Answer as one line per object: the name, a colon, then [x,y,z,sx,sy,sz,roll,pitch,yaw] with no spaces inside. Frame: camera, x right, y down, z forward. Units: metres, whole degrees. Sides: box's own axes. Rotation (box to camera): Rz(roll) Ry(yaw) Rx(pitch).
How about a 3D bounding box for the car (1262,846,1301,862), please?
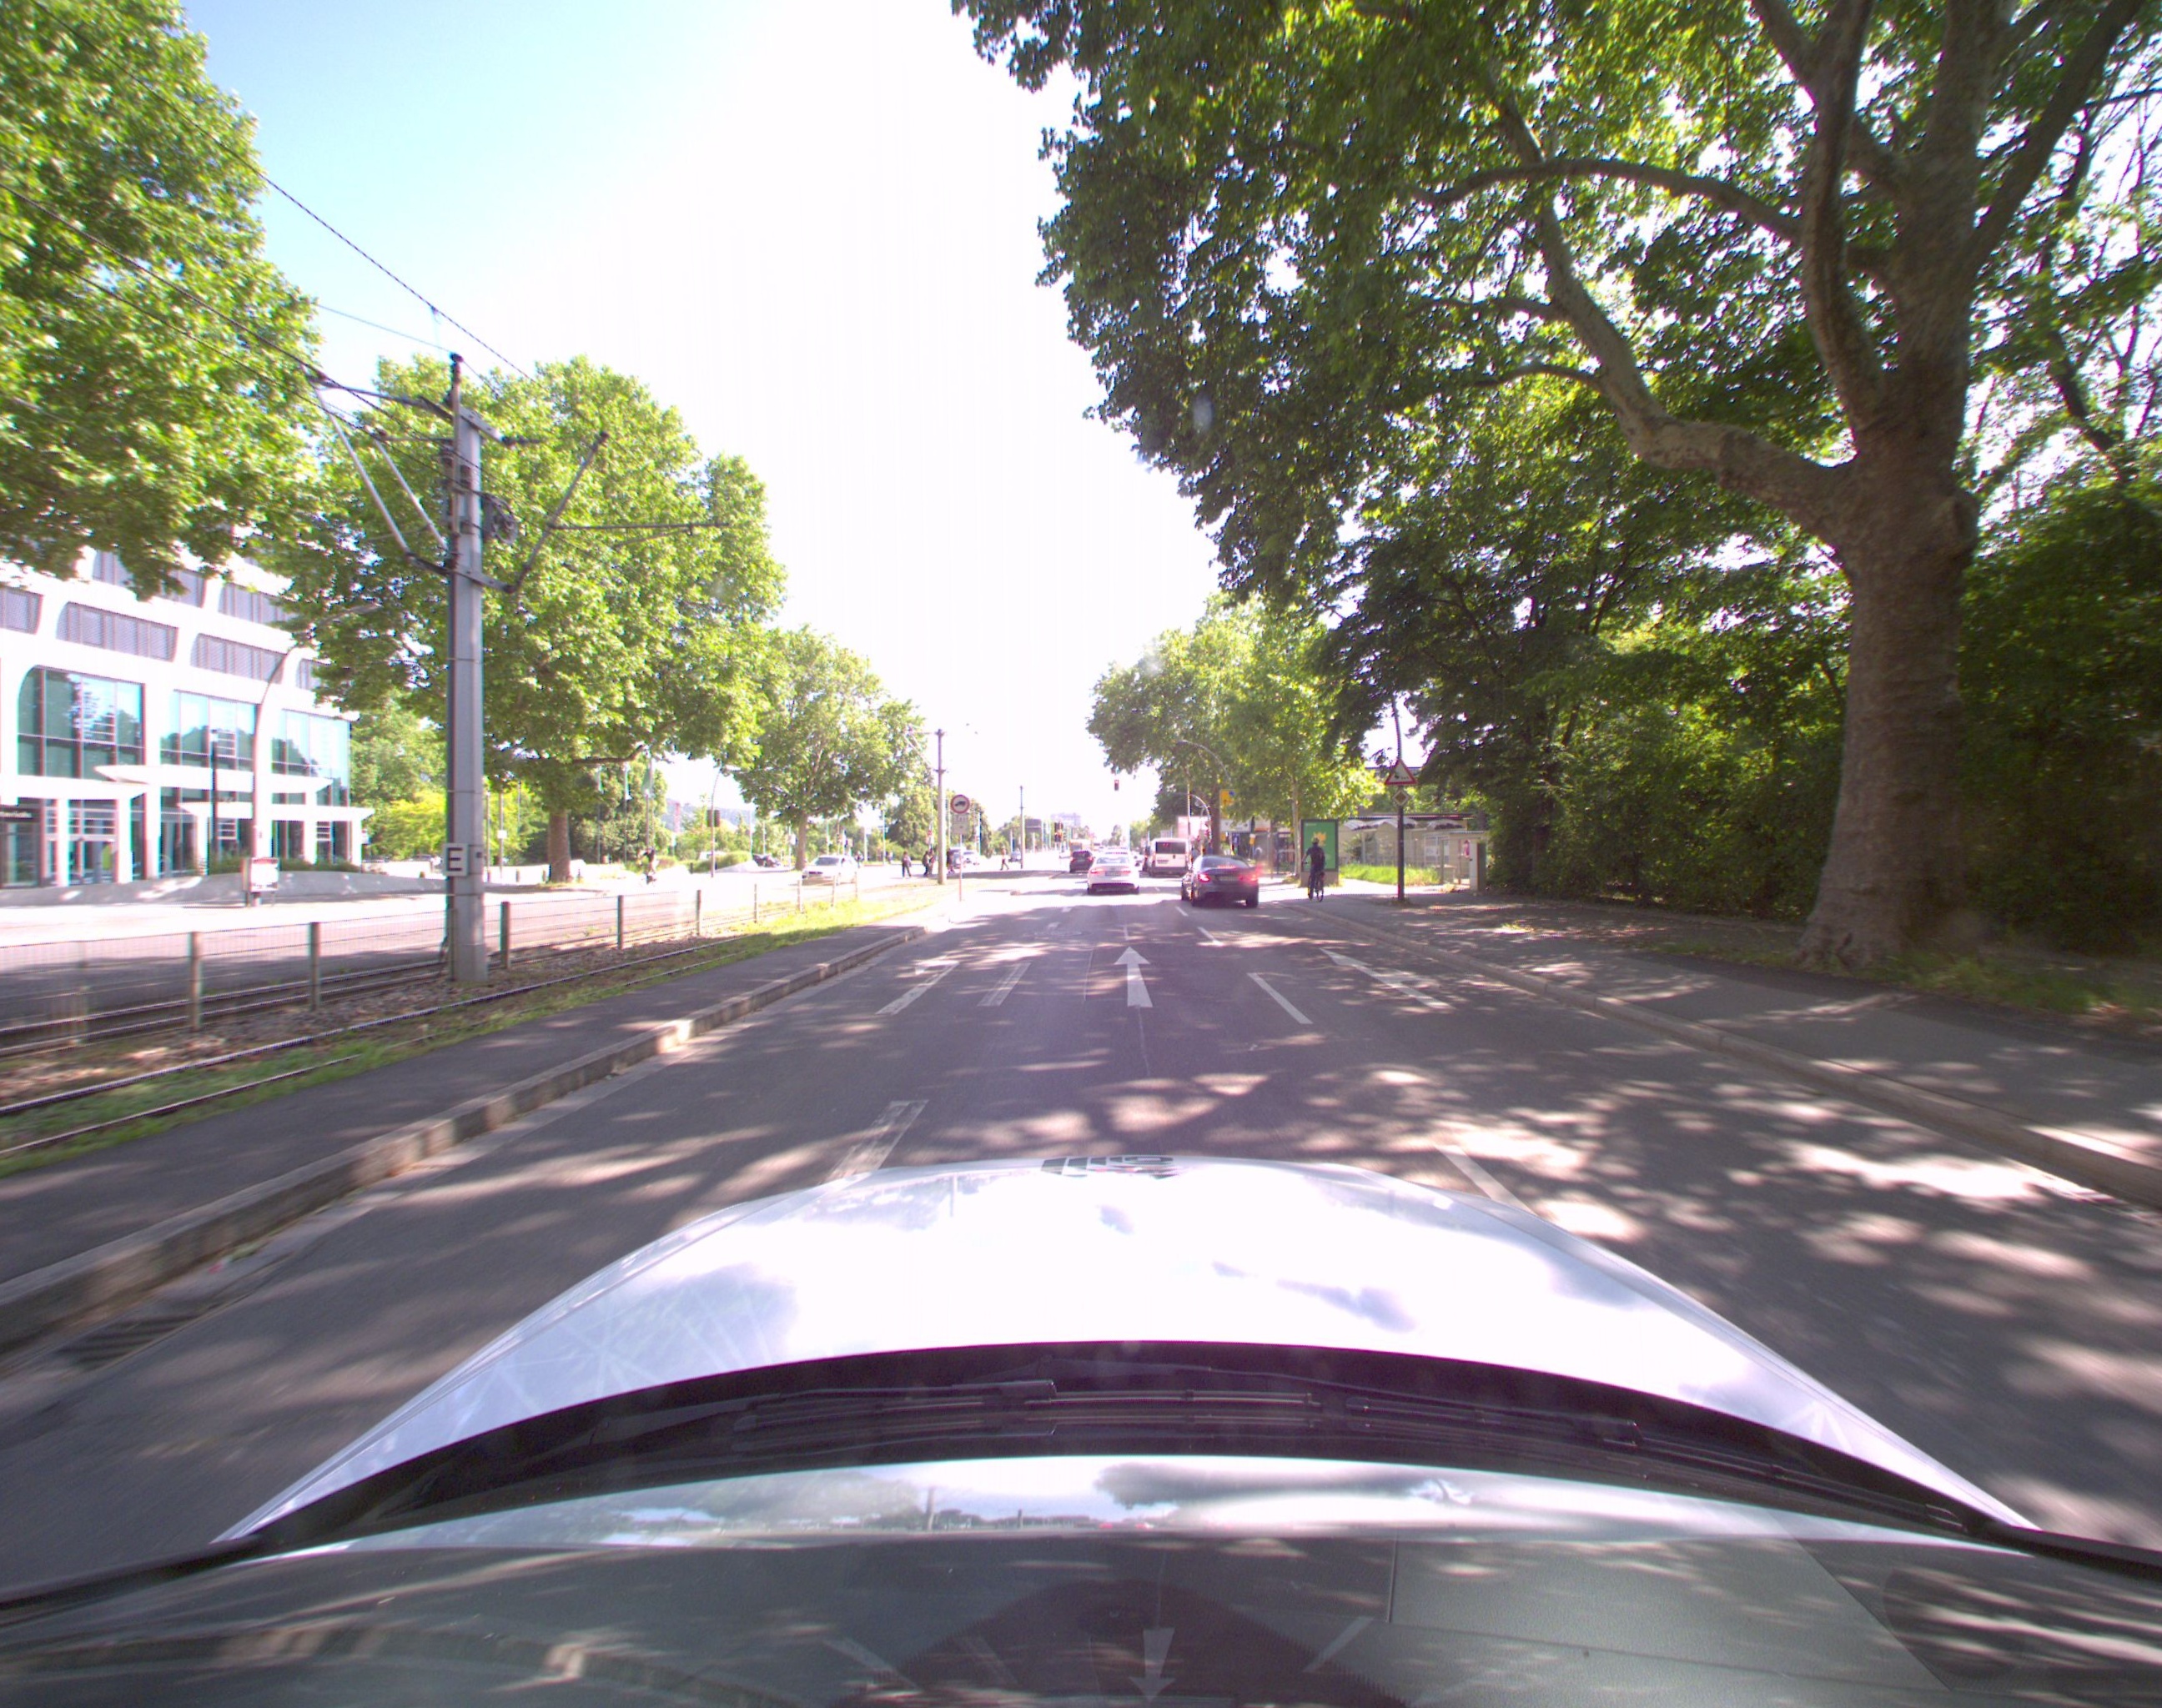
car: [21.341,0.002,86.787,3.761,1.672,1.795,0,0,3]

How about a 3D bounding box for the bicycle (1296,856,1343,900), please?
bicycle: [6.773,0.658,23.279,0.712,1.148,2.179,-3,0,2]

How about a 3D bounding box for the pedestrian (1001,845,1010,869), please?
pedestrian: [-6.223,0.242,67.045,0.621,1.918,0.690,0,0,3]

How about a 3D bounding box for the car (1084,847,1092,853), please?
car: [1.959,-1.179,228.242,1.862,1.609,4.005,0,0,5]

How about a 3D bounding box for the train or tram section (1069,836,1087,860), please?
train or tram section: [-0.477,-1.040,140.612,2.606,4.015,7.755,0,0,3]

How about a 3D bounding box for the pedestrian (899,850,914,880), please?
pedestrian: [-9.570,0.608,44.644,0.760,1.623,0.590,0,0,-23]

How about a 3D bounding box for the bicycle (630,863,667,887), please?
bicycle: [-20.095,0.966,37.874,0.664,1.094,1.885,0,0,3]

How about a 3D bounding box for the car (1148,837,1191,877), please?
car: [5.076,0.138,47.272,2.221,2.211,4.164,0,0,2]

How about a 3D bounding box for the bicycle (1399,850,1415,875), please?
bicycle: [16.102,0.408,40.271,0.387,1.180,1.174,0,0,3]

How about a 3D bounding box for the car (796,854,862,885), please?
car: [-12.735,0.731,41.491,1.789,1.488,4.388,0,0,3]

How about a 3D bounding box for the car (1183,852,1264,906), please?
car: [3.991,0.644,23.376,1.775,1.420,4.003,0,0,3]

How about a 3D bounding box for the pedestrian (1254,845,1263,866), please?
pedestrian: [15.588,0.150,71.523,0.773,1.788,0.766,0,0,10]

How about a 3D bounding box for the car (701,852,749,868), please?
car: [-34.438,0.570,78.730,3.832,1.549,1.771,0,0,2]

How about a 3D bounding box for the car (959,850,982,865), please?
car: [-12.025,0.381,88.677,1.756,1.609,3.863,0,0,3]

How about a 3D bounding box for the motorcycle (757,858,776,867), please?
motorcycle: [-30.984,0.863,80.209,1.637,0.891,0.650,0,0,2]

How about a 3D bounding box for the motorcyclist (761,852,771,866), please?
motorcyclist: [-31.034,0.493,80.213,0.750,1.314,0.604,0,0,2]

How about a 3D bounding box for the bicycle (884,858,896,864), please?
bicycle: [-24.125,0.915,103.086,0.486,0.731,1.632,0,0,31]

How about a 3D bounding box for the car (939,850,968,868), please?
car: [-11.690,0.469,74.964,1.863,1.609,4.003,0,0,3]

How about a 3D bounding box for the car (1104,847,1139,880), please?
car: [2.038,0.455,41.142,1.722,1.605,3.887,0,0,3]

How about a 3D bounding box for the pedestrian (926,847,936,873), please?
pedestrian: [-9.423,0.376,51.231,0.490,1.679,0.644,0,0,3]

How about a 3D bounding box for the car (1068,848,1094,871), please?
car: [0.029,0.399,59.900,1.722,1.631,4.003,0,0,3]

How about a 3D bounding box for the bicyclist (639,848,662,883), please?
bicyclist: [-20.080,0.518,37.996,0.572,1.604,0.839,0,0,3]

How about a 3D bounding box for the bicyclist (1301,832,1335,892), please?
bicyclist: [6.748,0.214,23.215,0.632,1.648,0.980,-3,0,1]

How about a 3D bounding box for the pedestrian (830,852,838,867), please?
pedestrian: [-25.210,0.519,82.994,0.620,1.542,0.644,0,0,1]

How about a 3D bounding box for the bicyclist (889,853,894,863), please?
bicyclist: [-24.043,0.498,103.209,0.469,1.292,0.500,0,0,31]

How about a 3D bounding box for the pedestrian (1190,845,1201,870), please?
pedestrian: [8.009,0.224,56.825,0.600,1.694,0.954,-3,0,2]

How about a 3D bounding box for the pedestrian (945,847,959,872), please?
pedestrian: [-9.072,0.394,57.198,0.769,1.734,0.756,0,0,11]

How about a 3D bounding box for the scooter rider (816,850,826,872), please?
scooter rider: [-19.067,0.526,59.663,0.504,1.631,0.566,0,0,3]

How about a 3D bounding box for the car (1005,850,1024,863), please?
car: [-8.665,0.343,106.813,1.985,1.734,4.003,0,0,3]

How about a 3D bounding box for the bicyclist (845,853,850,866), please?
bicyclist: [-22.571,0.520,78.640,0.384,1.311,0.465,0,0,-3]

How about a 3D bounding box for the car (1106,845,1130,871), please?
car: [2.744,0.285,59.882,1.722,1.901,4.003,0,0,3]

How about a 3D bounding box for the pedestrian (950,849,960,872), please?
pedestrian: [-8.958,0.460,57.898,0.532,1.598,0.580,0,0,21]

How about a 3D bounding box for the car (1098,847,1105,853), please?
car: [5.808,-1.199,228.097,1.862,1.609,4.005,0,0,5]

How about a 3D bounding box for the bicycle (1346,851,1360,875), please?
bicycle: [13.709,0.436,41.063,0.387,1.180,1.174,0,0,3]

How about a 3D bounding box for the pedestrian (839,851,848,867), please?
pedestrian: [-24.228,0.506,83.024,0.620,1.542,0.783,0,0,1]

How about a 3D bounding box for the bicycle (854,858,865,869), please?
bicycle: [-20.150,0.833,74.200,0.482,0.961,1.656,0,0,3]

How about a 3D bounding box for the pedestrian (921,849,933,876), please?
pedestrian: [-9.523,0.543,50.273,0.590,1.646,0.555,0,0,3]

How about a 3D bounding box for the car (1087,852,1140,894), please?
car: [1.195,0.635,29.327,1.777,1.420,3.887,0,0,3]

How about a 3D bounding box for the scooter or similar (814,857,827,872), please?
scooter or similar: [-19.076,0.772,59.652,0.545,1.112,1.249,0,0,3]

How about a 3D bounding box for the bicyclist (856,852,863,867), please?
bicyclist: [-20.161,0.490,74.243,0.477,1.416,0.593,0,0,2]

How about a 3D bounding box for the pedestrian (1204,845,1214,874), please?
pedestrian: [8.705,0.379,55.372,0.633,1.946,0.719,0,0,3]

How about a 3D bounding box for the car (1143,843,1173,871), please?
car: [5.707,0.195,60.772,2.064,1.999,4.061,0,0,2]
